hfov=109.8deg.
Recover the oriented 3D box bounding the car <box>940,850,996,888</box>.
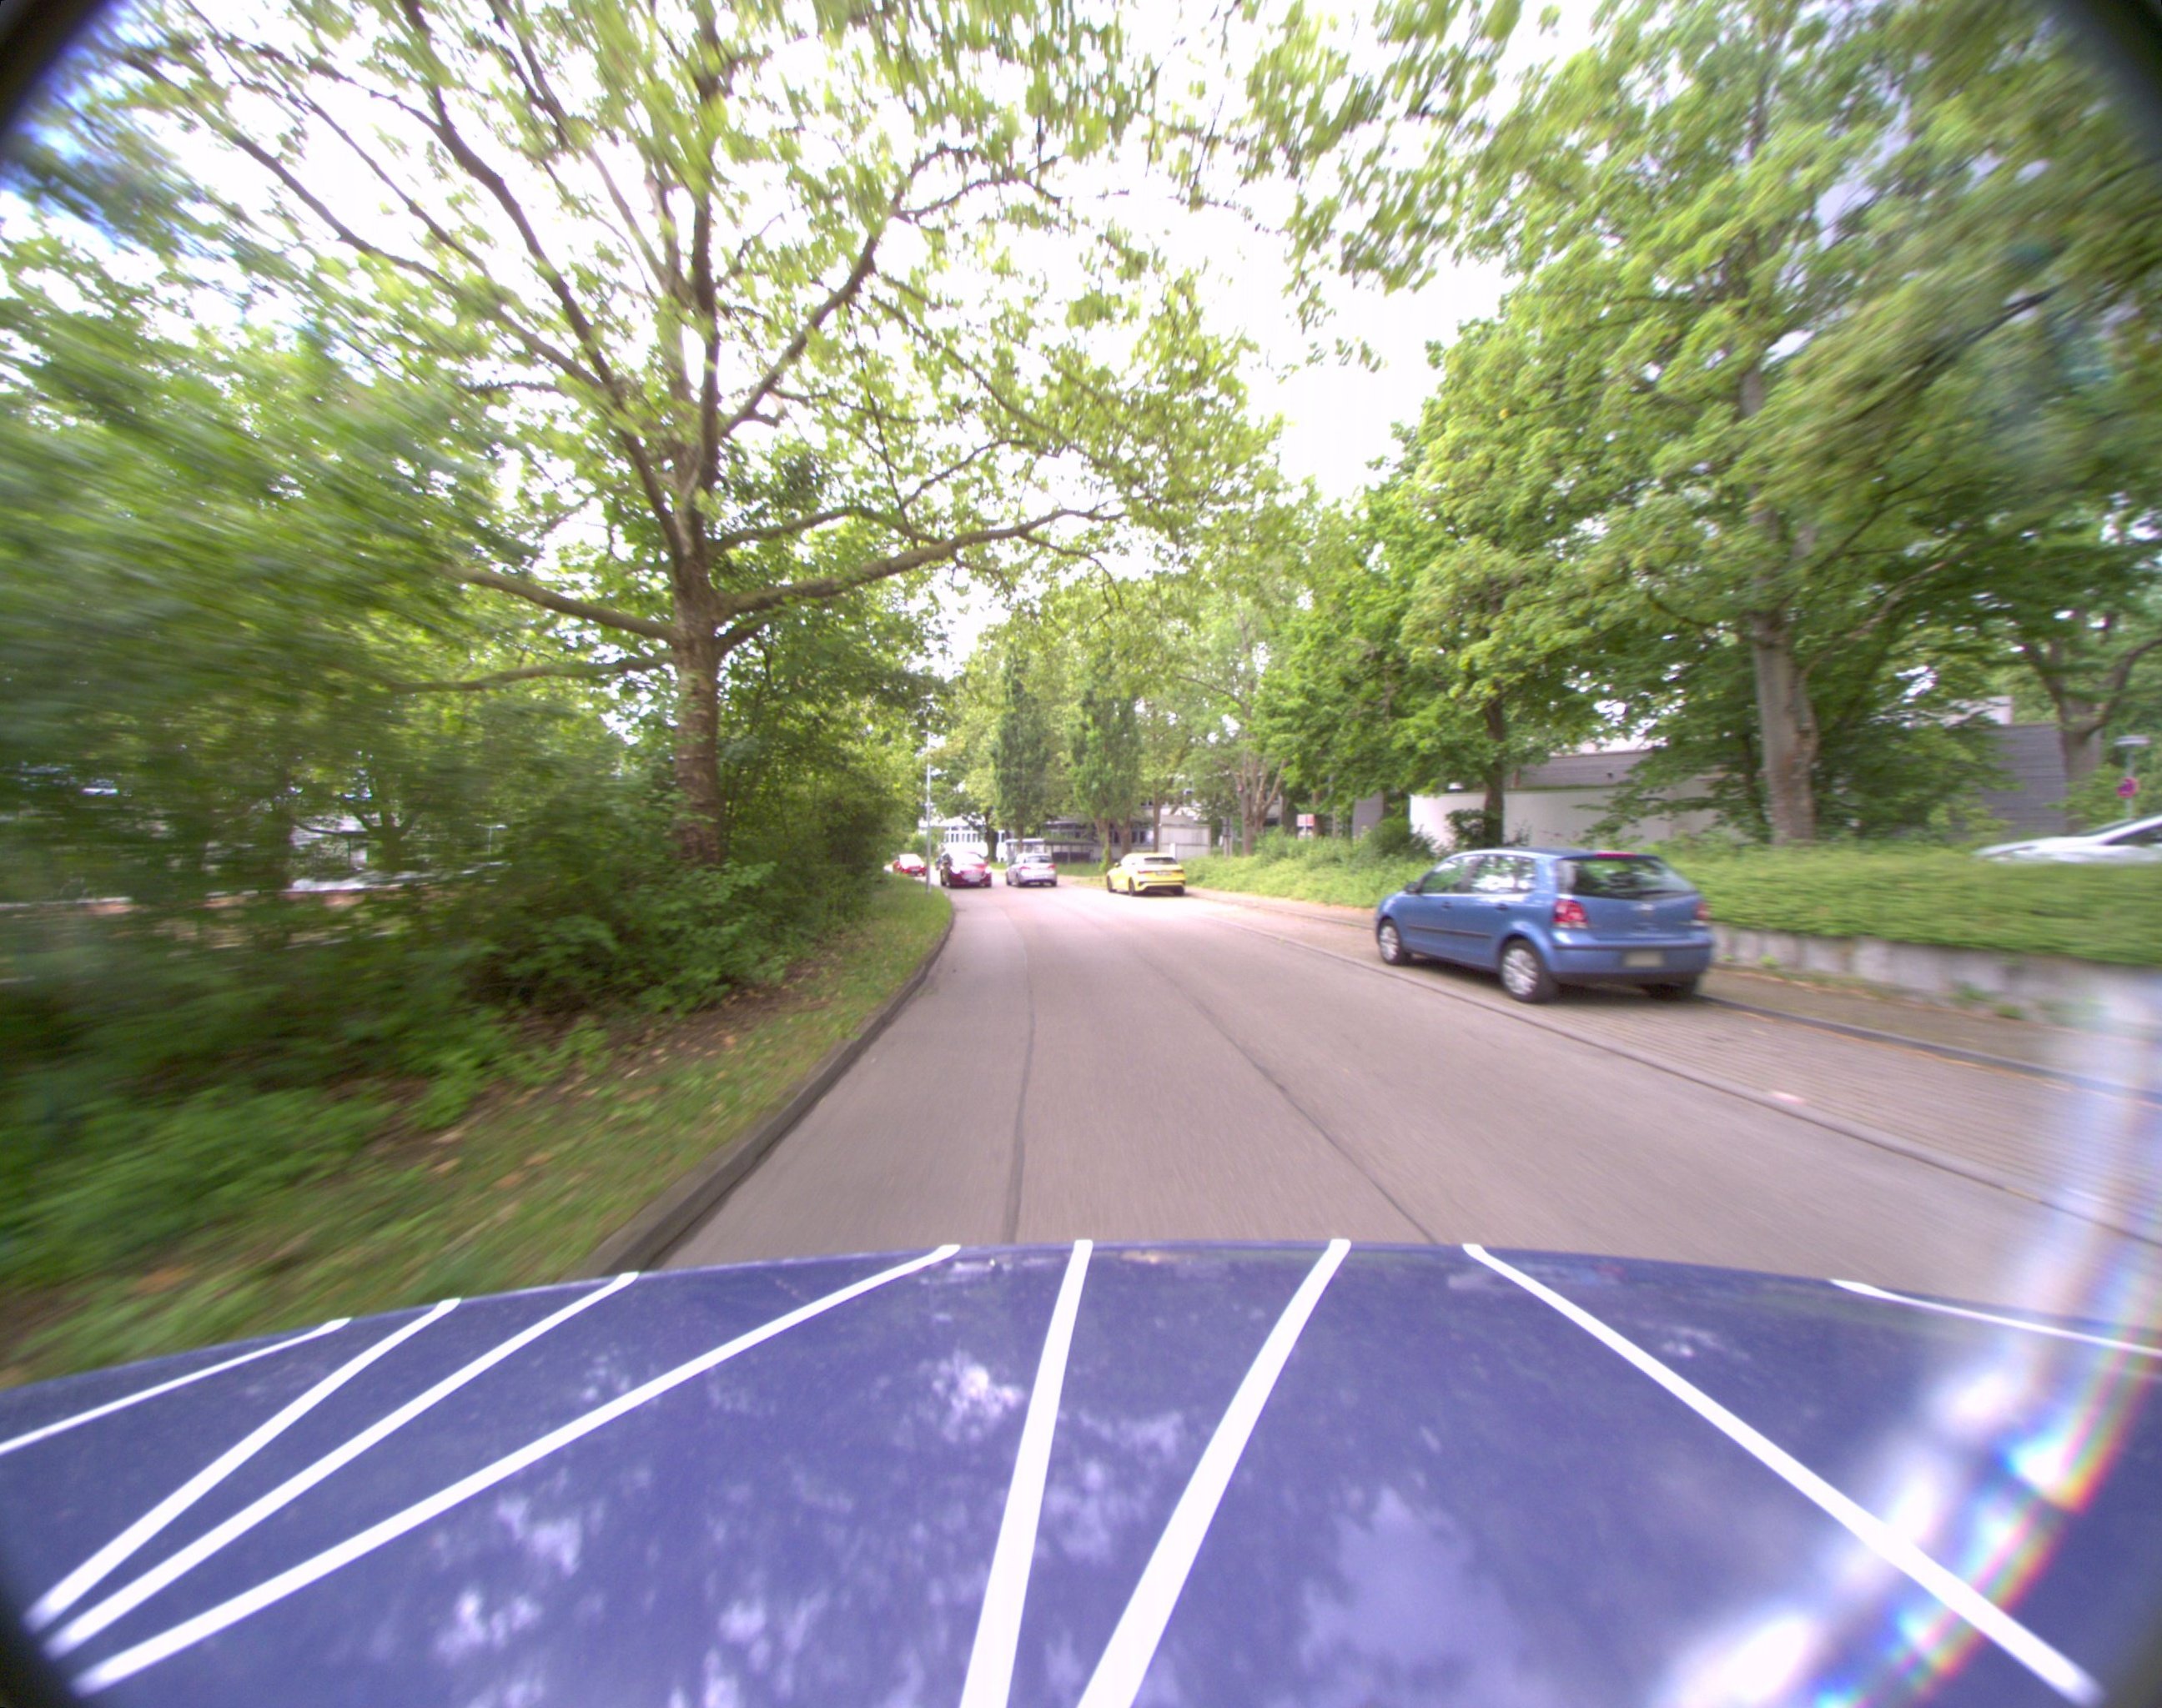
[{"bbox_3d":[-5.282,0.633,35.103,1.864,1.608,4.469,-1,1,-18],"label":"car"}]

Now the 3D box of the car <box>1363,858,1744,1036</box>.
[{"bbox_3d":[4.659,0.781,8.211,1.538,1.450,3.718,0,0,-6],"label":"car"}]

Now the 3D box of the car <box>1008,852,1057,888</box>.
[{"bbox_3d":[-2.232,0.674,34.060,1.682,1.454,4.057,-2,0,-11],"label":"car"}]

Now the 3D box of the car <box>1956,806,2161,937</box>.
[{"bbox_3d":[14.214,0.235,9.704,1.750,1.612,3.862,1,-1,-44],"label":"car"}]

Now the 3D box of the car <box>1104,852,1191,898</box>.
[{"bbox_3d":[2.176,0.650,26.063,1.706,1.395,4.267,0,1,-13],"label":"car"}]

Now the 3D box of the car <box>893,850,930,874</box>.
[{"bbox_3d":[-11.579,0.537,51.691,2.002,1.564,3.993,1,-1,-19],"label":"car"}]

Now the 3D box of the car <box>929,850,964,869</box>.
[{"bbox_3d":[-11.300,0.462,63.679,1.688,1.503,4.421,0,0,-27],"label":"car"}]
